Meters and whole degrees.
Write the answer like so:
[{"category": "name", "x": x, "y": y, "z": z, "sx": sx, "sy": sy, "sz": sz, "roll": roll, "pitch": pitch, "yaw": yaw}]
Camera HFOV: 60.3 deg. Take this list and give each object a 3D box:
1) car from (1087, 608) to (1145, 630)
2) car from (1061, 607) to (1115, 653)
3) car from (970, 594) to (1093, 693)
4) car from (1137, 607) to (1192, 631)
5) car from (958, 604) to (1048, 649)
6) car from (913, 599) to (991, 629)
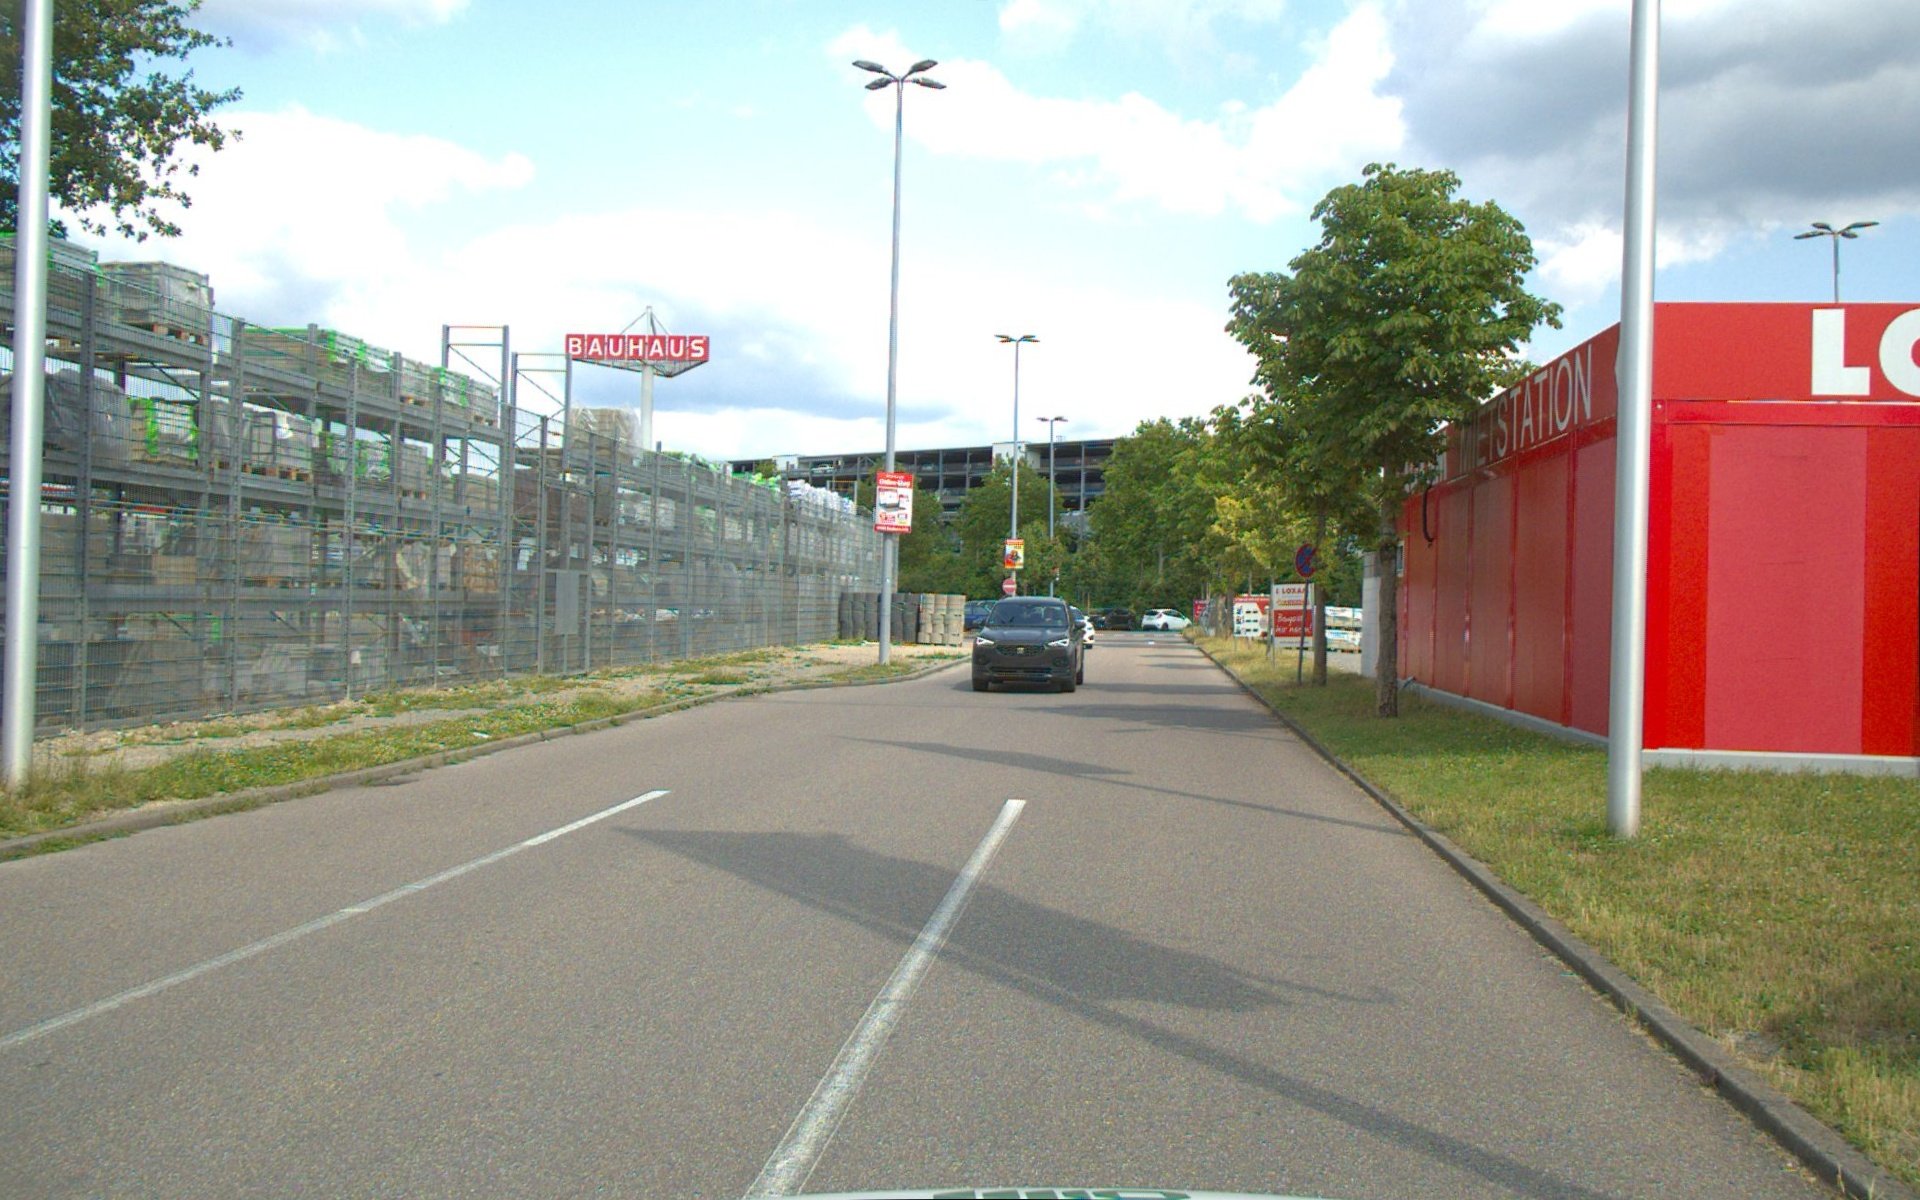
[{"category": "car", "x": 10.295, "y": 1.259, "z": 108.730, "sx": 1.702, "sy": 1.435, "sz": 4.219, "roll": 1, "pitch": 0, "yaw": 40}, {"category": "car", "x": 4.407, "y": 1.016, "z": 57.331, "sx": 1.766, "sy": 1.490, "sz": 4.331, "roll": 1, "pitch": 0, "yaw": 3}, {"category": "car", "x": 1.394, "y": 0.728, "z": 30.387, "sx": 1.874, "sy": 1.646, "sz": 4.377, "roll": 0, "pitch": 0, "yaw": 7}, {"category": "car", "x": 13.067, "y": 1.210, "z": 105.497, "sx": 3.531, "sy": 1.436, "sz": 1.643, "roll": 1, "pitch": 0, "yaw": -45}, {"category": "car", "x": 1.545, "y": 0.941, "z": 59.284, "sx": 2.828, "sy": 1.541, "sz": 1.532, "roll": 1, "pitch": 0, "yaw": 26}, {"category": "car", "x": -0.377, "y": 0.694, "z": 82.399, "sx": 3.671, "sy": 1.392, "sz": 1.622, "roll": 1, "pitch": 0, "yaw": 6}]
